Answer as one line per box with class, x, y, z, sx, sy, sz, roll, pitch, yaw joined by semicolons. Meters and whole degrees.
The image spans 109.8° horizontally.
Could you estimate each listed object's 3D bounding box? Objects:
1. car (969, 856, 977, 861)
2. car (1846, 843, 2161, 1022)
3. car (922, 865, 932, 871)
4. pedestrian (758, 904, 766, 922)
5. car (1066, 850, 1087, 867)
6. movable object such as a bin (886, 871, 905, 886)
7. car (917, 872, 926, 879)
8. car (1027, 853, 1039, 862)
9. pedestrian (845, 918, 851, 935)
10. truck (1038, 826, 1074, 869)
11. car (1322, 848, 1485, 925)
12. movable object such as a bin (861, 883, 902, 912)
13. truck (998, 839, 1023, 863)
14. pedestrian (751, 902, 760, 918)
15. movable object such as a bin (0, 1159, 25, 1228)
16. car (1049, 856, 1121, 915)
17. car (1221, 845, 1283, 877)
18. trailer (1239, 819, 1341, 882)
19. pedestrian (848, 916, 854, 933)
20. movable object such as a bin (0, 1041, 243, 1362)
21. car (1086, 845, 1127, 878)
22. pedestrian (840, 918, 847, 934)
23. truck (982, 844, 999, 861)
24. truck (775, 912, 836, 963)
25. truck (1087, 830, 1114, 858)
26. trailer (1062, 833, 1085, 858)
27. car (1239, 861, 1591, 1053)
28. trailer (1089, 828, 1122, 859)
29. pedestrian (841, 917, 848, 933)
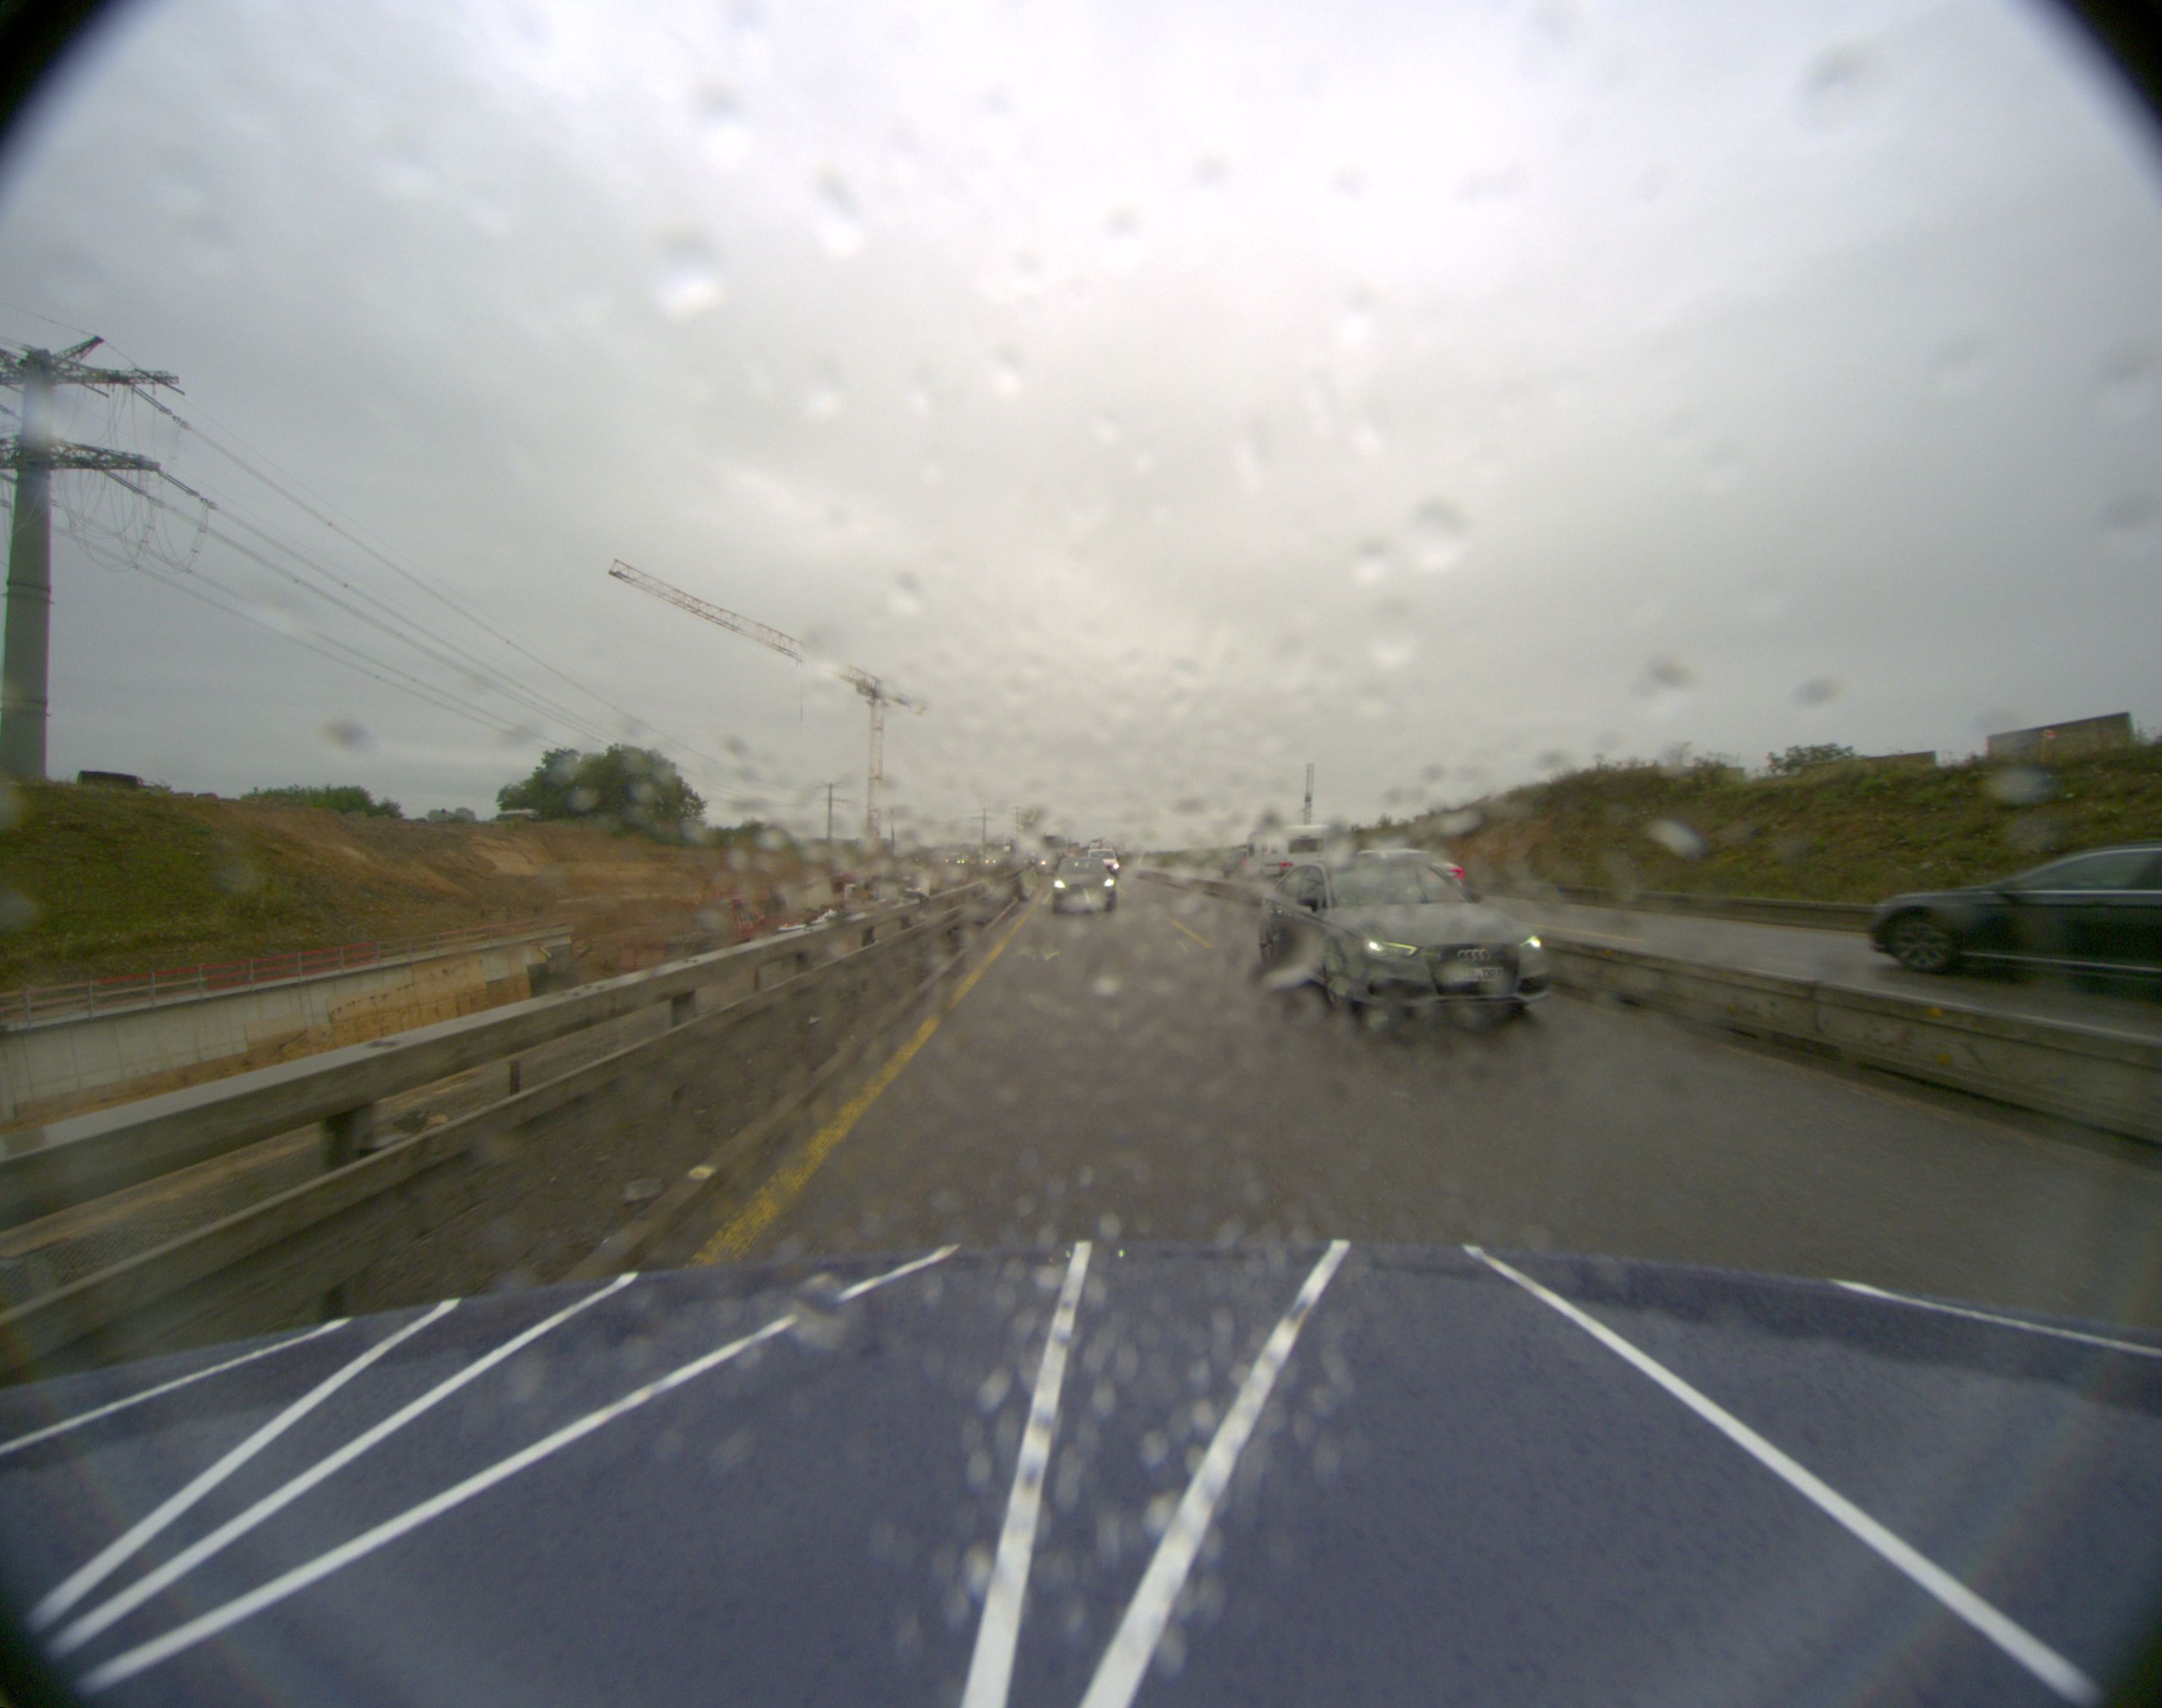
car;-30.088;1.300;211.494;1.791;1.418;3.995;-3;1;-14
car;9.887;0.652;6.616;1.772;1.435;4.671;-2;1;1
car;-43.742;3.960;215.355;2.352;1.609;4.855;-1;1;-7
pedestrian;-38.737;7.184;92.293;0.489;2.088;0.481;-7;2;-6
car;-0.500;0.491;84.515;1.790;1.744;3.997;-3;1;-7
movable object such as a bin;-40.973;5.432;168.220;3.503;2.865;3.997;4;0;-7
car;-39.288;5.242;187.231;1.861;1.609;4.077;-1;1;-7
car;-9.176;0.605;144.920;1.790;1.646;3.996;-3;1;-9
pedestrian;-26.587;8.251;86.678;0.603;1.894;0.614;0;1;-6
truck;-2.317;-0.607;67.154;2.857;3.463;8.639;-2;1;-4
car;7.213;0.690;17.566;1.882;1.491;4.335;-3;-1;0
movable object such as a bin;-27.493;5.964;105.259;3.516;3.405;6.651;-2;2;3
truck;-14.131;-0.676;151.099;4.320;4.319;13.398;-3;1;-7
pedestrian;-38.881;6.681;90.747;0.488;1.794;0.583;-5;2;34
movable object such as a bin;-33.806;10.445;21.704;2.523;1.900;3.255;-4;2;-5
car;0.045;0.844;22.484;1.874;1.481;4.259;-2;0;-2
car;9.309;0.341;41.768;1.999;1.577;5.117;-3;0;-2
trailer;9.563;-0.137;35.625;2.517;2.549;7.160;-3;0;-2
pedestrian;-26.498;8.139;87.603;0.603;1.894;0.481;0;1;-6
movable object such as a bin;-26.067;8.427;14.997;4.906;5.640;12.083;-4;3;1
car;1.541;0.412;48.086;2.070;1.934;5.154;-2;1;-3
pedestrian;-27.510;8.324;87.981;0.603;1.894;0.481;1;1;-6
truck;-22.709;-0.357;190.389;3.548;3.871;8.327;-3;1;-10
truck;-25.619;7.653;71.167;2.710;3.591;9.069;0;2;-3
truck;2.802;-1.513;111.759;3.240;3.933;5.878;-2;1;-4
trailer;-1.466;-1.479;140.712;3.004;4.395;15.694;0;0;-5
car;3.093;0.835;8.080;1.805;1.375;4.086;-2;1;-2
trailer;3.265;-1.447;105.978;3.265;3.941;11.530;-2;1;-5
pedestrian;-26.797;8.045;85.958;0.603;1.759;0.481;2;1;-6
